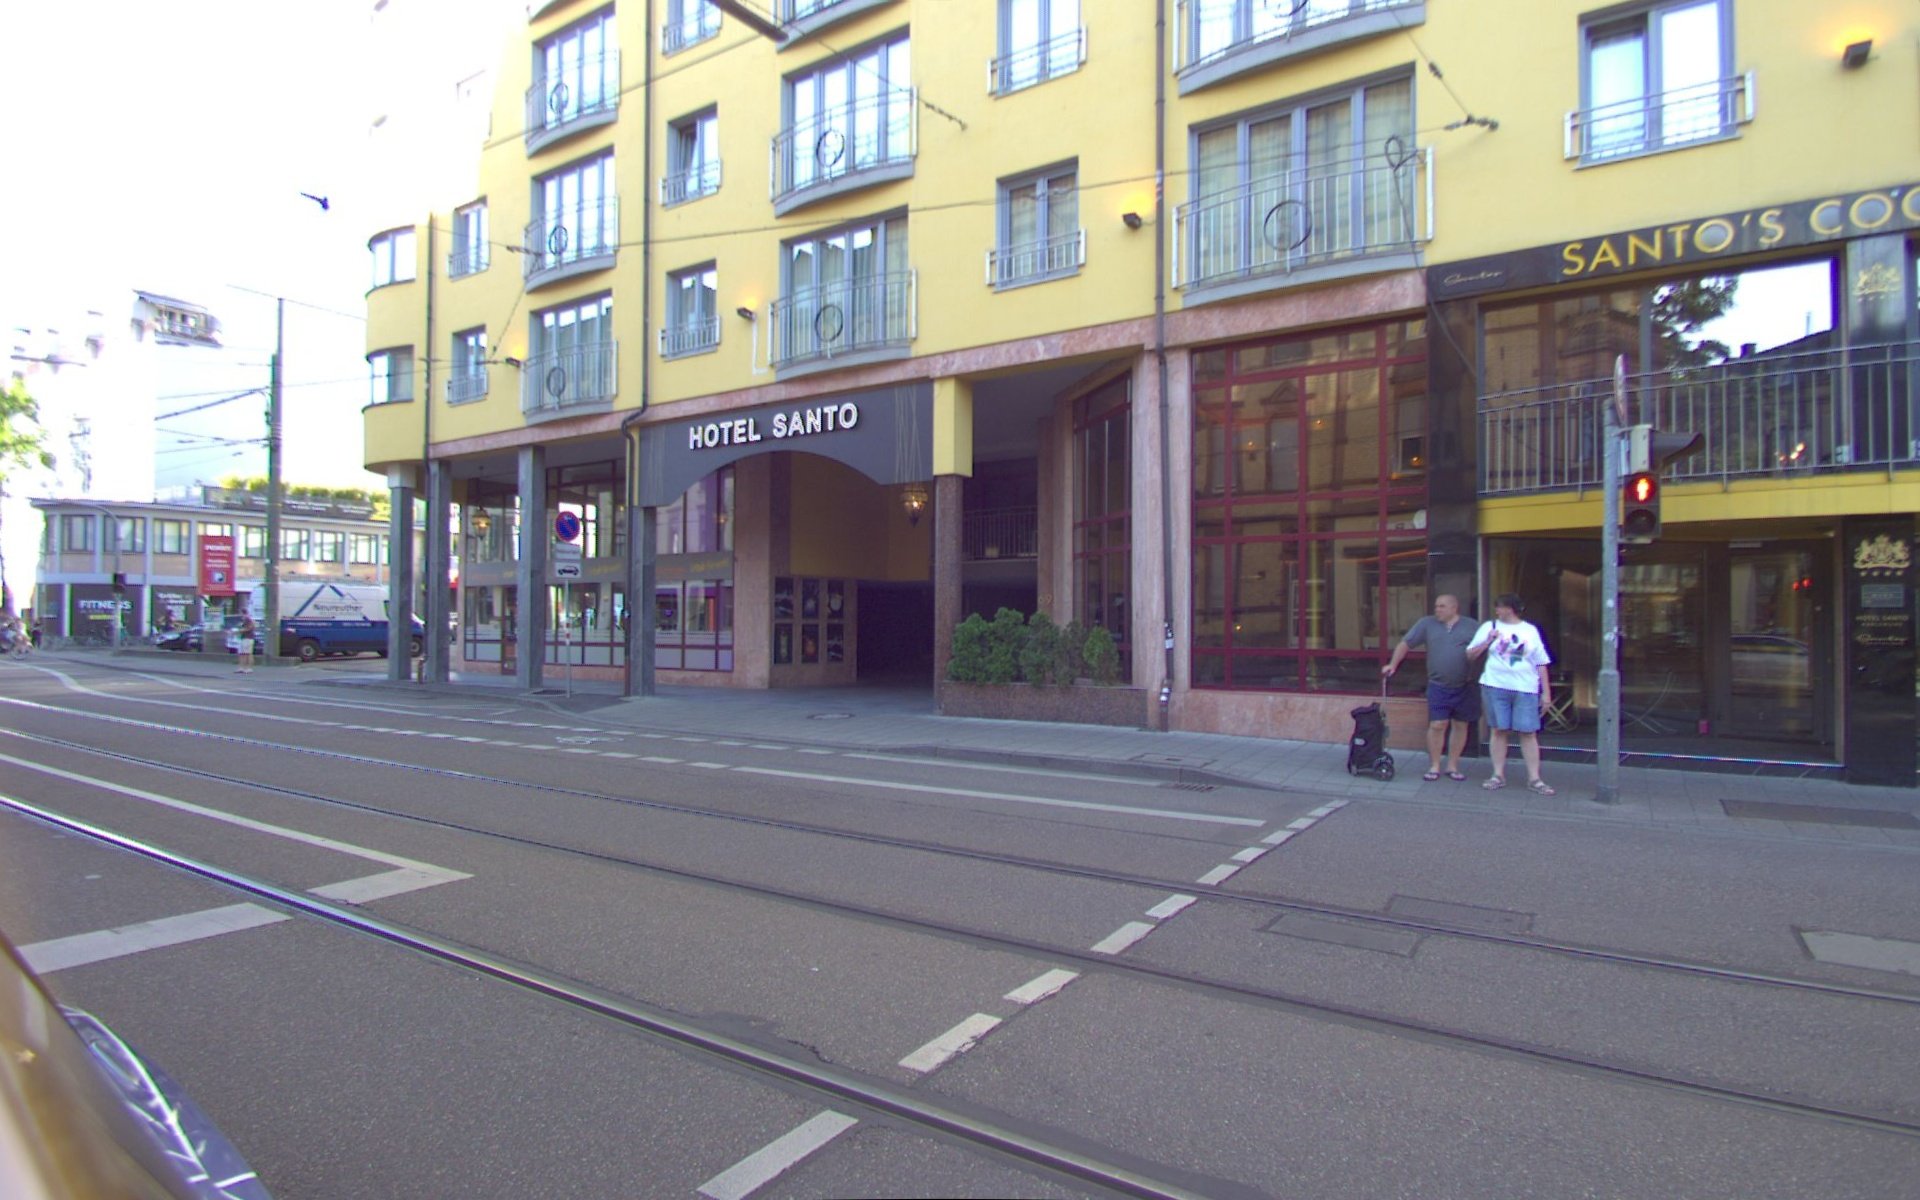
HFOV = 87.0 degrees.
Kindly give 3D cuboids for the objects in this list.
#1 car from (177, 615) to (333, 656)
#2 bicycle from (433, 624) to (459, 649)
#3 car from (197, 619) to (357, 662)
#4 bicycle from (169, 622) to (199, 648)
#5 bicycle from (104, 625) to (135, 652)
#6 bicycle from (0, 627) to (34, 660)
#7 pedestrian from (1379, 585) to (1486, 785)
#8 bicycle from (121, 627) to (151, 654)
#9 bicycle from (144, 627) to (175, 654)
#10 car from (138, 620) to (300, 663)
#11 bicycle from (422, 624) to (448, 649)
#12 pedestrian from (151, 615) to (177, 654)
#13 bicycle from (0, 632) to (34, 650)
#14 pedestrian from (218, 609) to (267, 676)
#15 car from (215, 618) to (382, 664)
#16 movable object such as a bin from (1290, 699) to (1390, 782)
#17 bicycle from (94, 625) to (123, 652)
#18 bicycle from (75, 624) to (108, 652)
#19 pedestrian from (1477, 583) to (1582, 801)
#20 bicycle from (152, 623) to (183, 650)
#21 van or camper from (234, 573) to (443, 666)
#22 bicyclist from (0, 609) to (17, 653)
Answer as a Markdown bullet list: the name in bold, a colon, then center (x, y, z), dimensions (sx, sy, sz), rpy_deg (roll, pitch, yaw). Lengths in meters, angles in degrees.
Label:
- **car**: center (-27.007, 1.363, 38.931), dimensions (1.874, 1.487, 4.550), rpy_deg (-2, -3, 34)
- **bicycle**: center (-24.518, 1.744, 48.284), dimensions (1.830, 1.196, 0.427), rpy_deg (-2, -3, 41)
- **car**: center (-25.142, 1.483, 37.414), dimensions (1.874, 1.487, 4.550), rpy_deg (-2, -3, 34)
- **bicycle**: center (-35.860, 1.634, 46.736), dimensions (1.825, 1.196, 0.445), rpy_deg (-1, -3, 31)
- **bicycle**: center (-37.506, 1.708, 45.162), dimensions (1.825, 1.196, 0.445), rpy_deg (-1, -3, 31)
- **bicycle**: center (-34.683, 1.570, 36.438), dimensions (0.681, 1.179, 1.811), rpy_deg (1, -2, 33)
- **pedestrian**: center (4.530, 0.777, 9.693), dimensions (0.798, 1.784, 0.741), rpy_deg (-2, 2, 33)
- **bicycle**: center (-37.097, 1.829, 45.564), dimensions (1.825, 1.196, 0.439), rpy_deg (-1, -3, 31)
- **bicycle**: center (-35.851, 1.796, 45.306), dimensions (1.825, 1.196, 0.445), rpy_deg (-1, -3, 31)
- **car**: center (-29.357, 1.621, 40.252), dimensions (1.874, 1.595, 4.854), rpy_deg (-2, -3, 34)
- **bicycle**: center (-24.877, 1.730, 47.904), dimensions (1.830, 1.196, 0.427), rpy_deg (-2, -3, 41)
- **pedestrian**: center (-35.350, 1.543, 44.928), dimensions (0.681, 1.710, 0.676), rpy_deg (-2, -3, 32)
- **bicycle**: center (-52.800, 2.290, 56.301), dimensions (0.389, 0.919, 1.827), rpy_deg (-6, -4, 38)
- **pedestrian**: center (-20.200, 1.194, 28.490), dimensions (0.906, 1.846, 0.827), rpy_deg (-2, -3, 33)
- **car**: center (-23.137, 1.433, 35.572), dimensions (1.874, 1.487, 4.550), rpy_deg (-2, -3, 34)
- **movable object such as a bin**: center (3.770, 1.379, 10.046), dimensions (0.839, 0.721, 0.380), rpy_deg (-1, 2, 35)
- **bicycle**: center (-37.601, 1.703, 44.694), dimensions (1.826, 1.196, 0.436), rpy_deg (-2, -3, 33)
- **bicycle**: center (-38.169, 1.677, 44.452), dimensions (1.823, 1.196, 0.442), rpy_deg (-1, -2, 28)
- **pedestrian**: center (5.253, 0.790, 9.312), dimensions (0.751, 1.832, 1.034), rpy_deg (-2, 2, 32)
- **bicycle**: center (-36.010, 1.662, 45.976), dimensions (1.825, 1.196, 0.445), rpy_deg (-1, -3, 31)
- **van or camper**: center (-20.868, 0.704, 34.250), dimensions (2.309, 2.849, 5.559), rpy_deg (-2, -3, 34)
- **bicyclist**: center (-34.672, 1.114, 36.442), dimensions (0.689, 1.561, 0.828), rpy_deg (1, -2, 33)
